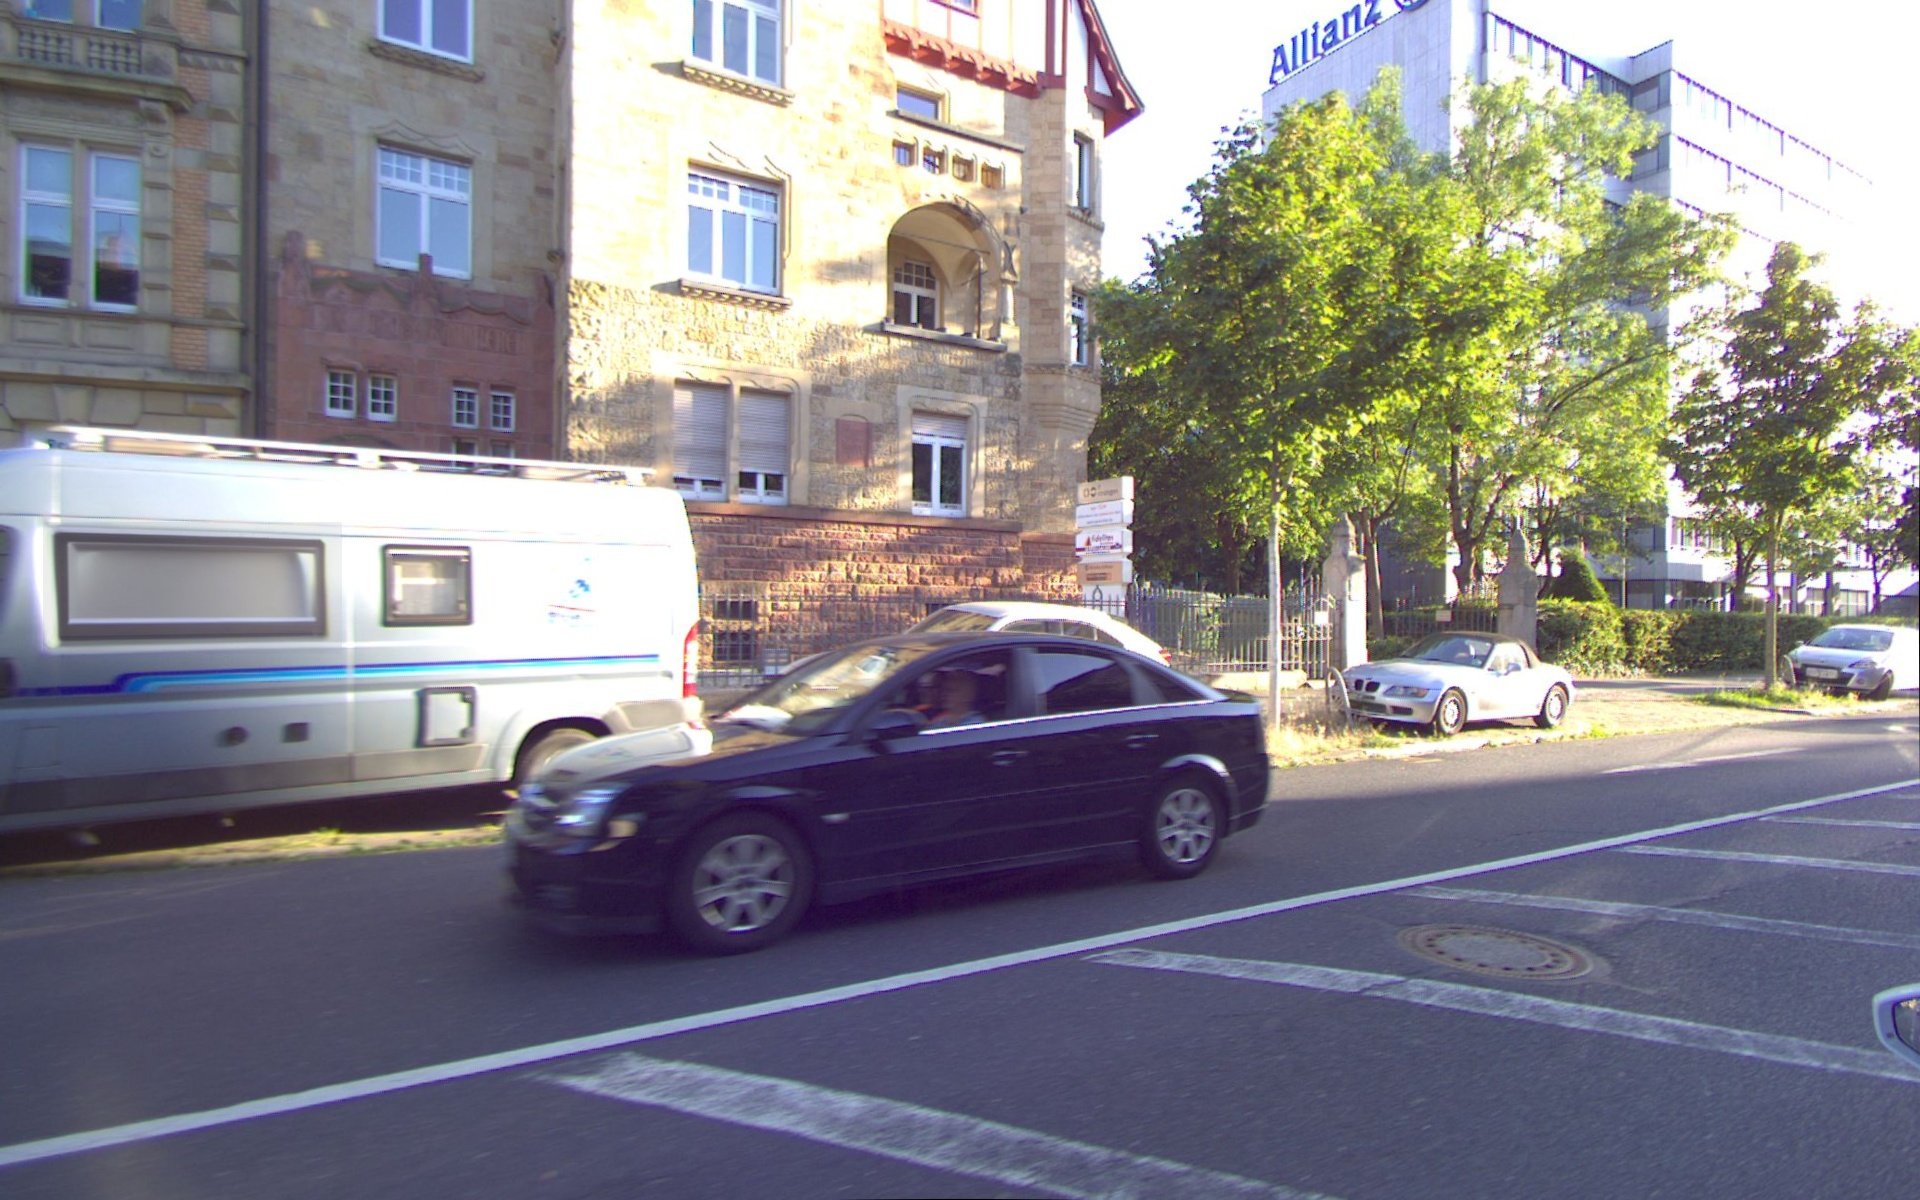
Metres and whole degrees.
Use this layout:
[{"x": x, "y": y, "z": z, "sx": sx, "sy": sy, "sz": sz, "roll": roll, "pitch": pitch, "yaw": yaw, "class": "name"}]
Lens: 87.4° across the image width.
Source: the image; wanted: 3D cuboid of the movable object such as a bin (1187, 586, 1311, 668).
[{"x": 5.795, "y": 0.520, "z": 20.238, "sx": 1.314, "sy": 1.397, "sz": 1.930, "roll": 2, "pitch": 5, "yaw": -31, "class": "movable object such as a bin"}]

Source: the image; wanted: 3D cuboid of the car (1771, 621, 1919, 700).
[{"x": 19.315, "y": 1.247, "z": 21.605, "sx": 3.955, "sy": 1.471, "sz": 1.687, "roll": 1, "pitch": 1, "yaw": -32, "class": "car"}]

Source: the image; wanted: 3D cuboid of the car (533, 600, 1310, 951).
[{"x": -0.093, "y": 0.762, "z": 5.891, "sx": 4.255, "sy": 1.405, "sz": 1.751, "roll": 1, "pitch": -2, "yaw": -31, "class": "car"}]

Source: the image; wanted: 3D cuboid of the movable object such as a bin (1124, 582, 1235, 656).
[{"x": 4.760, "y": 0.401, "z": 21.915, "sx": 1.314, "sy": 1.397, "sz": 1.930, "roll": 2, "pitch": 5, "yaw": -31, "class": "movable object such as a bin"}]

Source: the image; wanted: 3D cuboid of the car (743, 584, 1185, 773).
[{"x": 0.120, "y": 0.689, "z": 10.313, "sx": 4.254, "sy": 1.555, "sz": 1.736, "roll": 1, "pitch": 1, "yaw": -32, "class": "car"}]

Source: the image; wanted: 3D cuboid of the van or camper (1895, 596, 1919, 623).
[{"x": 93.047, "y": 0.974, "z": 94.835, "sx": 2.422, "sy": 2.556, "sz": 6.527, "roll": 1, "pitch": 1, "yaw": -31, "class": "van or camper"}]

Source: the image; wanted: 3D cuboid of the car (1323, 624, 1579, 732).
[{"x": 6.897, "y": 1.014, "z": 14.037, "sx": 3.573, "sy": 1.265, "sz": 1.527, "roll": 1, "pitch": 1, "yaw": -32, "class": "car"}]

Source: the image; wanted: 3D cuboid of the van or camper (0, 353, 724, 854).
[{"x": -4.855, "y": 0.013, "z": 6.863, "sx": 5.978, "sy": 2.704, "sz": 1.980, "roll": 1, "pitch": 1, "yaw": -35, "class": "van or camper"}]
